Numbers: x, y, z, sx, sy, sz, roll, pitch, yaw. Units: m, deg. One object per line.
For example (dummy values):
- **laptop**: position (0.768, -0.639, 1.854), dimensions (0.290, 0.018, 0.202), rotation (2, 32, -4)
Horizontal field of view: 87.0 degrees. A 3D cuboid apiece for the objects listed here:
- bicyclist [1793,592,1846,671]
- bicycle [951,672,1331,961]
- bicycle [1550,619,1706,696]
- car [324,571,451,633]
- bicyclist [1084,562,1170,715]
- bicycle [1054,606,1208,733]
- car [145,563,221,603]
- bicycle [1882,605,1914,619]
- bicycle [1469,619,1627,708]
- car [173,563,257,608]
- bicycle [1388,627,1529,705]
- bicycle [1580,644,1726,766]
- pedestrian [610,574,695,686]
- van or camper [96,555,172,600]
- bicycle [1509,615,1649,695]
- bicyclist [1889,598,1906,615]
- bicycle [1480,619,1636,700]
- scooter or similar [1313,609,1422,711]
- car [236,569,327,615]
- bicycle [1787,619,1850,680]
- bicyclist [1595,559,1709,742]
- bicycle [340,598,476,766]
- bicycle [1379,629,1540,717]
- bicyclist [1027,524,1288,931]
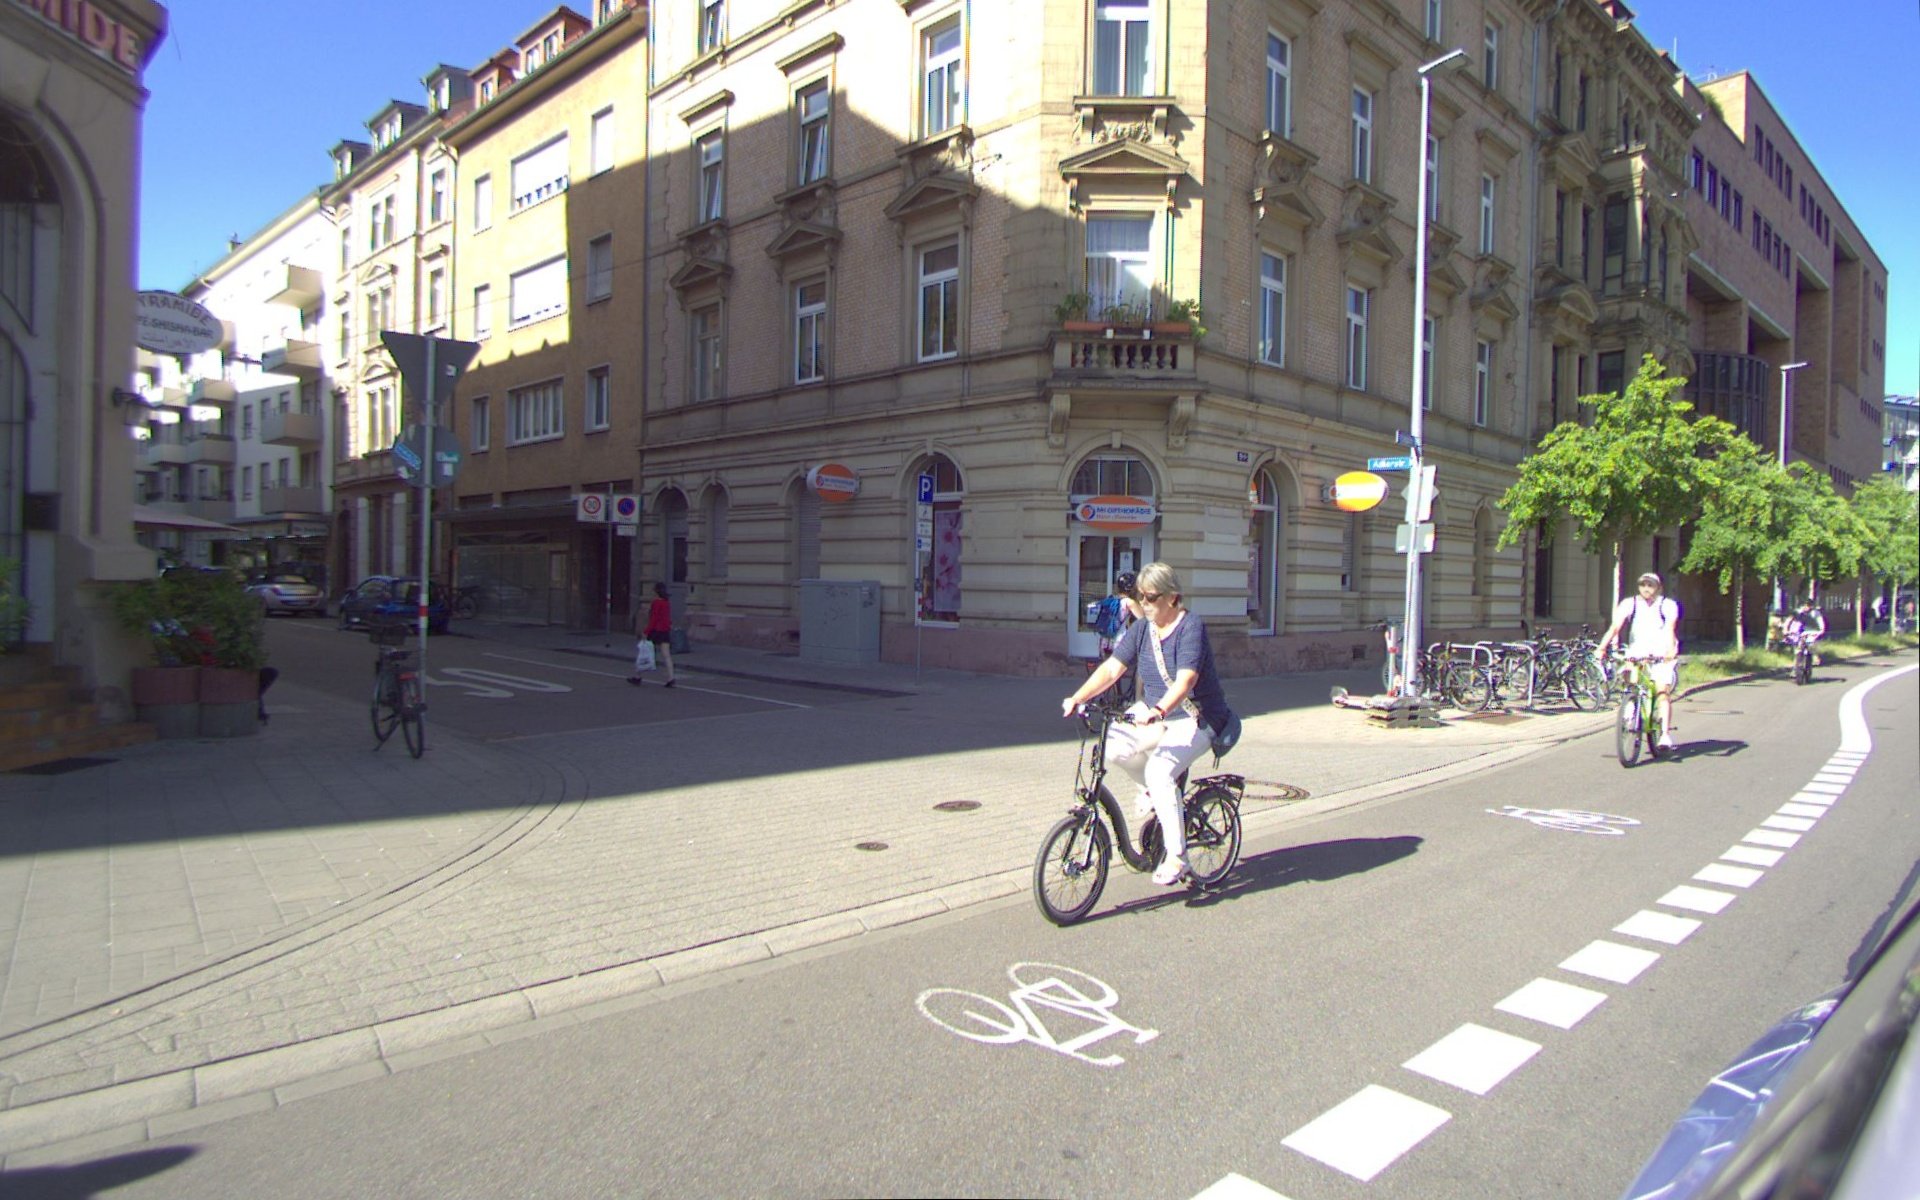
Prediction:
- **bicyclist**: position (18.246, 0.657, 21.480), dimensions (0.879, 1.625, 0.724), rotation (1, -1, -41)
- **bicycle**: position (0.949, 0.929, 4.975), dimensions (1.918, 1.019, 0.829), rotation (0, 0, -41)
- **bicycle**: position (11.506, 0.962, 17.496), dimensions (0.833, 1.054, 2.062), rotation (0, 4, -41)
- **car**: position (-14.662, 0.015, 25.858), dimensions (3.686, 1.428, 1.594), rotation (2, 1, 39)
- **bicyclist**: position (1.863, 0.398, 11.275), dimensions (0.781, 1.637, 0.578), rotation (0, 1, -43)
- **bicycle**: position (1.962, 0.723, 11.379), dimensions (2.062, 1.268, 0.578), rotation (-1, 2, -43)
- **car**: position (-30.011, -0.667, 39.064), dimensions (3.425, 1.424, 1.605), rotation (3, 0, 41)
- **bicycle**: position (75.938, 0.988, 81.931), dimensions (0.633, 1.031, 2.047), rotation (1, 1, -2)
- **bicycle**: position (8.561, 0.897, 14.800), dimensions (0.598, 1.061, 1.873), rotation (0, 4, -45)
- **car**: position (-26.254, -0.525, 35.622), dimensions (3.425, 1.424, 1.605), rotation (3, 0, 41)
- **bicycle**: position (6.987, 0.897, 14.255), dimensions (0.488, 0.937, 1.716), rotation (0, 1, -40)
- **bicycle**: position (6.828, 0.977, 9.940), dimensions (1.918, 1.019, 0.724), rotation (0, 0, -41)
- **pedestrian**: position (-4.531, 0.422, 14.958), dimensions (0.824, 1.594, 0.901), rotation (0, 0, 22)
- **van or camper**: position (-37.858, -1.063, 46.354), dimensions (4.527, 1.867, 1.857), rotation (3, 0, 41)
- **bicycle**: position (10.268, 0.878, 16.826), dimensions (1.115, 1.074, 1.677), rotation (0, 5, -42)
- **bicyclist**: position (75.946, 0.533, 81.967), dimensions (0.625, 1.325, 0.741), rotation (1, 1, 0)
- **bicycle**: position (9.453, 0.905, 16.046), dimensions (1.013, 1.043, 1.901), rotation (0, 4, -43)
- **scooter or similar**: position (5.243, 0.747, 13.050), dimensions (0.479, 1.213, 1.197), rotation (1, 1, -45)
- **car**: position (-21.156, -0.267, 31.540), dimensions (3.376, 1.338, 1.604), rotation (1, 1, 42)
- **bicycle**: position (18.197, 1.026, 21.433), dimensions (1.918, 1.209, 0.724), rotation (0, -1, -41)
- **bicyclist**: position (6.755, 0.465, 9.879), dimensions (0.960, 1.678, 0.699), rotation (1, -1, -41)
- **bicycle**: position (-4.975, 0.657, 9.039), dimensions (0.801, 1.247, 2.221), rotation (4, -1, -34)
- **bicycle**: position (6.684, 0.944, 13.651), dimensions (0.580, 0.922, 1.911), rotation (0, 3, -32)
- **bicyclist**: position (0.974, 0.548, 4.998), dimensions (0.971, 1.749, 0.853), rotation (1, -1, -41)
